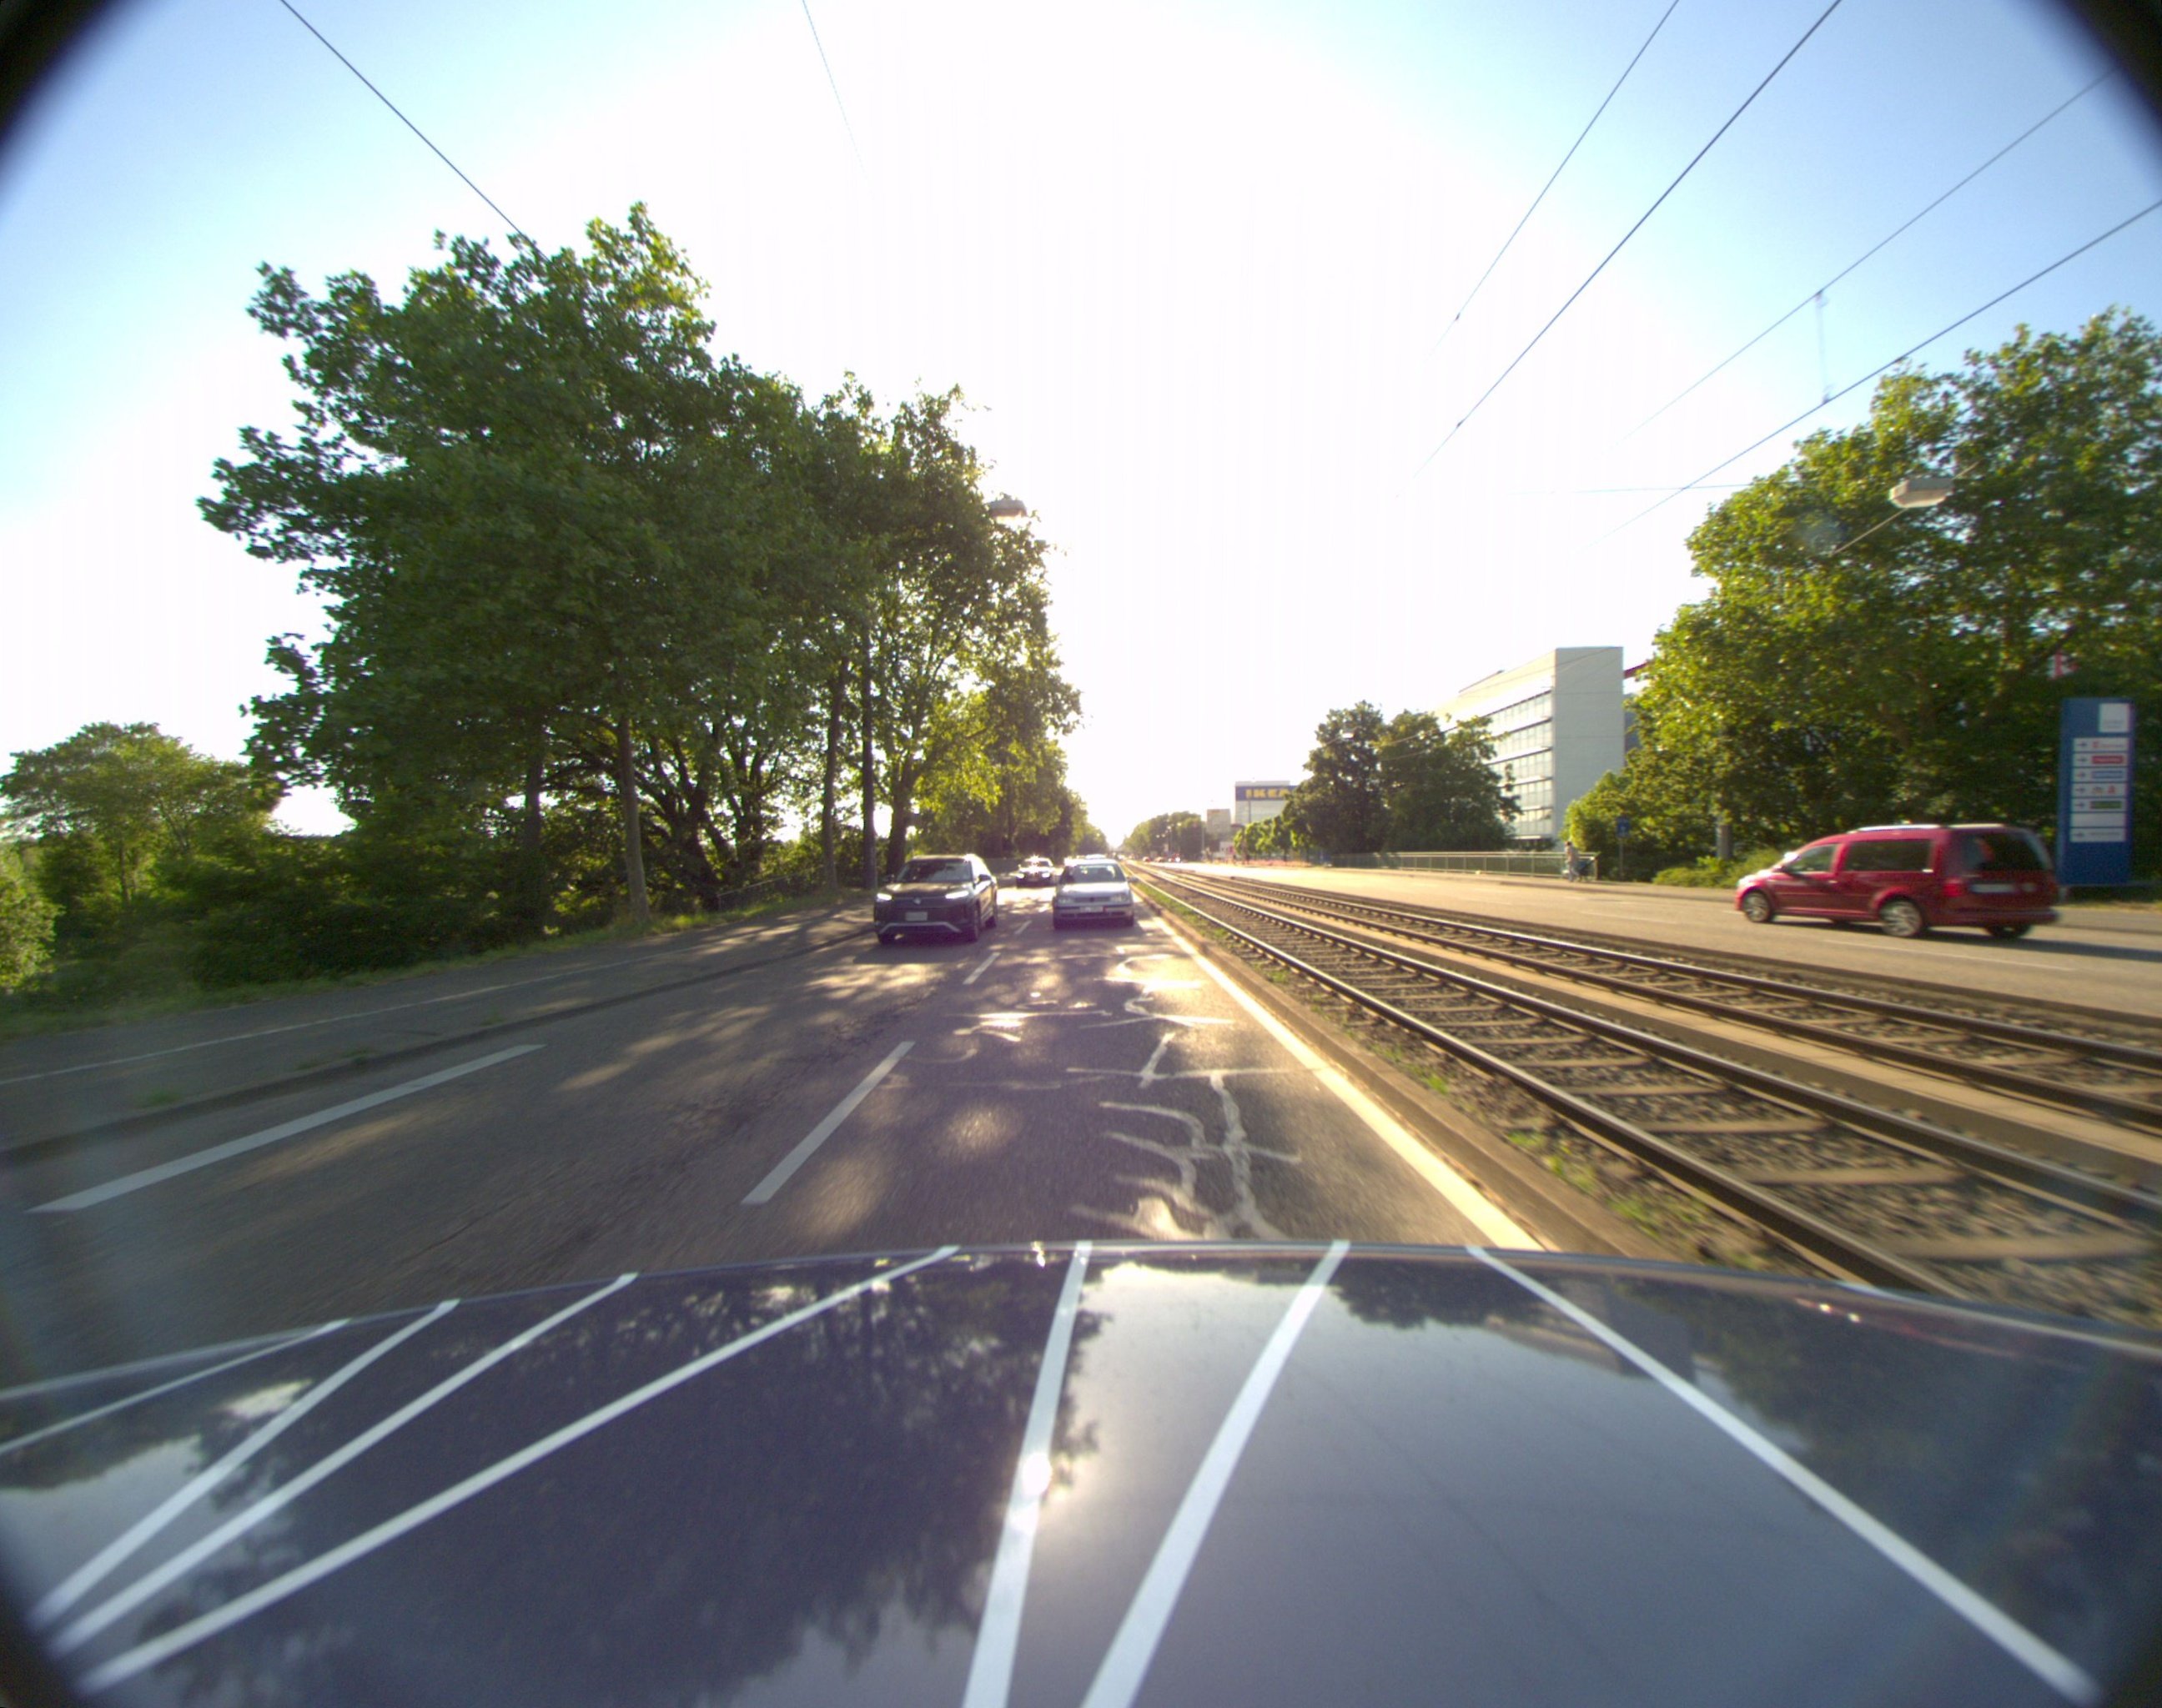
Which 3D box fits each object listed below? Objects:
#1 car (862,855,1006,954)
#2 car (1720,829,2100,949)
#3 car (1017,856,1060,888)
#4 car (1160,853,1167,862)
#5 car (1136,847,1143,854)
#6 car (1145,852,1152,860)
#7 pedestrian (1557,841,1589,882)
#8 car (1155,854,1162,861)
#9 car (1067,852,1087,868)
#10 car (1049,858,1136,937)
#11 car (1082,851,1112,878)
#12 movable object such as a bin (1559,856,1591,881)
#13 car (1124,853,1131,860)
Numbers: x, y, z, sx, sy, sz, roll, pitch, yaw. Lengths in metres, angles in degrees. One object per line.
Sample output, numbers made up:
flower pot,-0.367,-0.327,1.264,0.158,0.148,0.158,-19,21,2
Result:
car,-2.782,0.888,15.468,1.881,1.591,4.416,-2,1,2
car,14.161,0.488,13.488,1.998,1.785,4.349,0,1,1
car,-2.123,0.895,39.080,1.874,1.405,4.001,-2,1,1
car,23.204,1.043,213.747,1.997,2.281,4.002,-3,0,7
car,19.668,-1.216,256.124,1.997,2.281,4.002,-3,0,7
car,20.776,0.567,233.518,1.997,2.281,4.002,-3,0,7
pedestrian,20.699,0.309,31.986,0.614,1.638,1.083,-3,1,1
car,24.113,1.071,236.838,1.997,2.281,4.002,-3,0,7
car,-0.440,0.585,79.822,1.881,1.449,4.416,-2,1,2
car,0.286,0.882,17.254,1.695,1.437,4.001,-2,1,1
car,1.081,0.637,50.766,1.881,1.591,4.416,-2,1,2
movable object such as a bin,20.909,0.603,32.157,0.614,0.960,1.083,-3,1,1
car,15.630,0.735,256.469,1.997,2.281,4.002,-1,1,7
